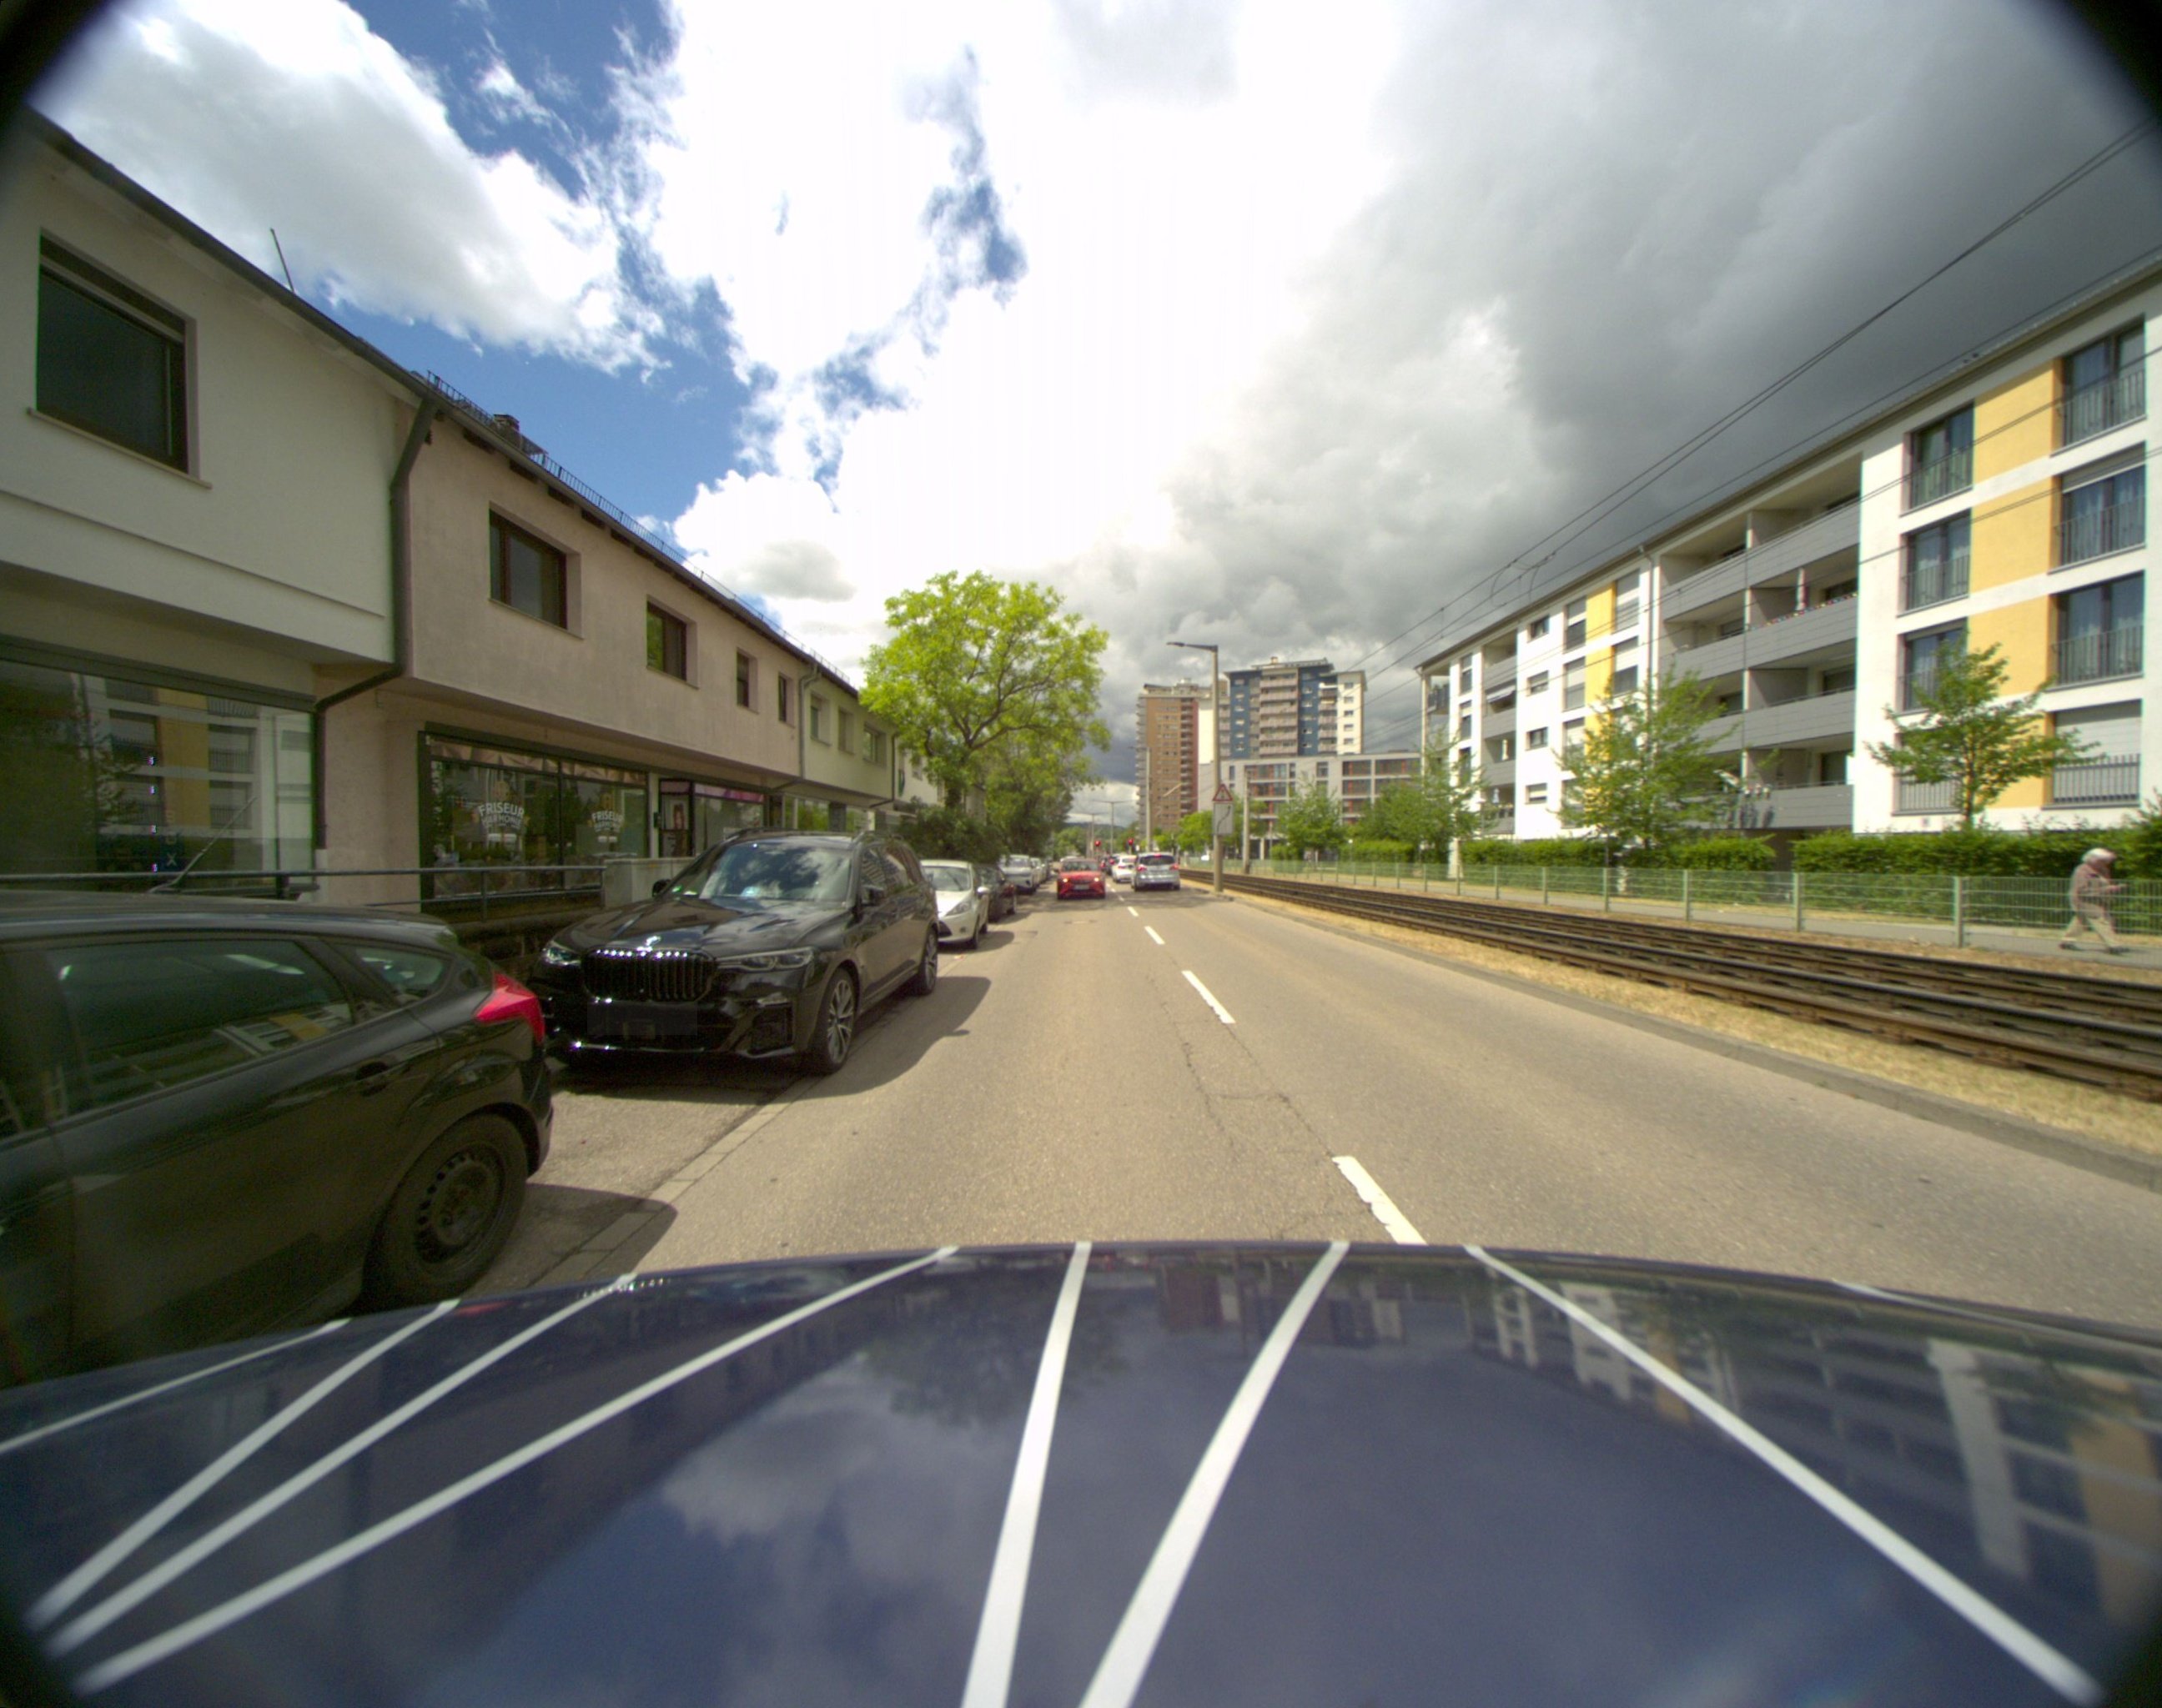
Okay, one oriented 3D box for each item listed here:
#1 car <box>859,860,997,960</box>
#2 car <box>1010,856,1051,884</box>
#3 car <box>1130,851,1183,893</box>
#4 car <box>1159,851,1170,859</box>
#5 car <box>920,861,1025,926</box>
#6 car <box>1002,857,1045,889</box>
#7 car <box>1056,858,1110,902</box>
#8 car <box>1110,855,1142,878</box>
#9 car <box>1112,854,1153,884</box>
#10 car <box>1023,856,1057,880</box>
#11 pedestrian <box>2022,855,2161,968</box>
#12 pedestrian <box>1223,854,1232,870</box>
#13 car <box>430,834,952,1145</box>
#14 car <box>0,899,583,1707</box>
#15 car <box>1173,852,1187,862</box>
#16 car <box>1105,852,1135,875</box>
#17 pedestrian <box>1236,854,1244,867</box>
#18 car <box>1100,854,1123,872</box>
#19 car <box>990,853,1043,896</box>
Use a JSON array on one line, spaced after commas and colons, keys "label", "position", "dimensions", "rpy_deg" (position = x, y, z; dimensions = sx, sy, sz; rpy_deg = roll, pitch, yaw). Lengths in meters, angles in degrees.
[{"label": "car", "position": [-2.591, 0.890, 13.762], "dimensions": [1.776, 1.434, 3.898], "rpy_deg": [2, 0, -2]}, {"label": "car", "position": [-2.827, 0.868, 43.146], "dimensions": [1.818, 1.490, 4.911], "rpy_deg": [0, 0, 2]}, {"label": "car", "position": [3.173, 0.713, 32.756], "dimensions": [1.822, 1.604, 4.601], "rpy_deg": [-2, 0, 0]}, {"label": "car", "position": [18.059, 0.148, 164.860], "dimensions": [1.781, 1.650, 3.803], "rpy_deg": [-1, 0, -1]}, {"label": "car", "position": [-2.603, 0.910, 19.206], "dimensions": [1.775, 1.341, 4.001], "rpy_deg": [2, 0, 4]}, {"label": "car", "position": [-2.733, 0.884, 37.201], "dimensions": [1.729, 1.418, 4.446], "rpy_deg": [0, 0, 1]}, {"label": "car", "position": [0.091, 0.893, 27.986], "dimensions": [1.792, 1.387, 4.241], "rpy_deg": [-2, 0, 1]}, {"label": "car", "position": [2.956, 0.806, 50.204], "dimensions": [1.751, 1.398, 3.939], "rpy_deg": [0, 0, -2]}, {"label": "car", "position": [2.773, 0.782, 42.061], "dimensions": [1.822, 1.494, 4.836], "rpy_deg": [-2, 0, -1]}, {"label": "car", "position": [-2.597, 0.878, 48.566], "dimensions": [1.818, 1.455, 4.041], "rpy_deg": [0, 0, 2]}, {"label": "pedestrian", "position": [13.996, 0.759, 10.477], "dimensions": [0.798, 1.474, 0.995], "rpy_deg": [-1, 1, -1]}, {"label": "pedestrian", "position": [14.580, 0.808, 75.587], "dimensions": [0.756, 1.603, 0.938], "rpy_deg": [-1, 1, -1]}, {"label": "car", "position": [-2.693, 0.768, 6.933], "dimensions": [2.020, 1.778, 5.076], "rpy_deg": [0, 0, 2]}, {"label": "car", "position": [-3.008, 0.956, 1.074], "dimensions": [1.839, 1.497, 4.242], "rpy_deg": [0, 0, 0]}, {"label": "car", "position": [16.342, 0.485, 125.601], "dimensions": [1.893, 1.530, 3.803], "rpy_deg": [-1, 0, 0]}, {"label": "car", "position": [2.916, 0.685, 57.835], "dimensions": [1.862, 1.680, 4.432], "rpy_deg": [0, 0, -2]}, {"label": "pedestrian", "position": [19.828, 0.792, 94.761], "dimensions": [0.749, 1.644, 0.538], "rpy_deg": [-1, 1, -1]}, {"label": "car", "position": [2.607, 0.754, 66.550], "dimensions": [1.815, 1.437, 4.464], "rpy_deg": [0, 0, 0]}, {"label": "car", "position": [-2.627, 0.784, 31.691], "dimensions": [1.842, 1.634, 4.429], "rpy_deg": [-1, 0, -1]}]
